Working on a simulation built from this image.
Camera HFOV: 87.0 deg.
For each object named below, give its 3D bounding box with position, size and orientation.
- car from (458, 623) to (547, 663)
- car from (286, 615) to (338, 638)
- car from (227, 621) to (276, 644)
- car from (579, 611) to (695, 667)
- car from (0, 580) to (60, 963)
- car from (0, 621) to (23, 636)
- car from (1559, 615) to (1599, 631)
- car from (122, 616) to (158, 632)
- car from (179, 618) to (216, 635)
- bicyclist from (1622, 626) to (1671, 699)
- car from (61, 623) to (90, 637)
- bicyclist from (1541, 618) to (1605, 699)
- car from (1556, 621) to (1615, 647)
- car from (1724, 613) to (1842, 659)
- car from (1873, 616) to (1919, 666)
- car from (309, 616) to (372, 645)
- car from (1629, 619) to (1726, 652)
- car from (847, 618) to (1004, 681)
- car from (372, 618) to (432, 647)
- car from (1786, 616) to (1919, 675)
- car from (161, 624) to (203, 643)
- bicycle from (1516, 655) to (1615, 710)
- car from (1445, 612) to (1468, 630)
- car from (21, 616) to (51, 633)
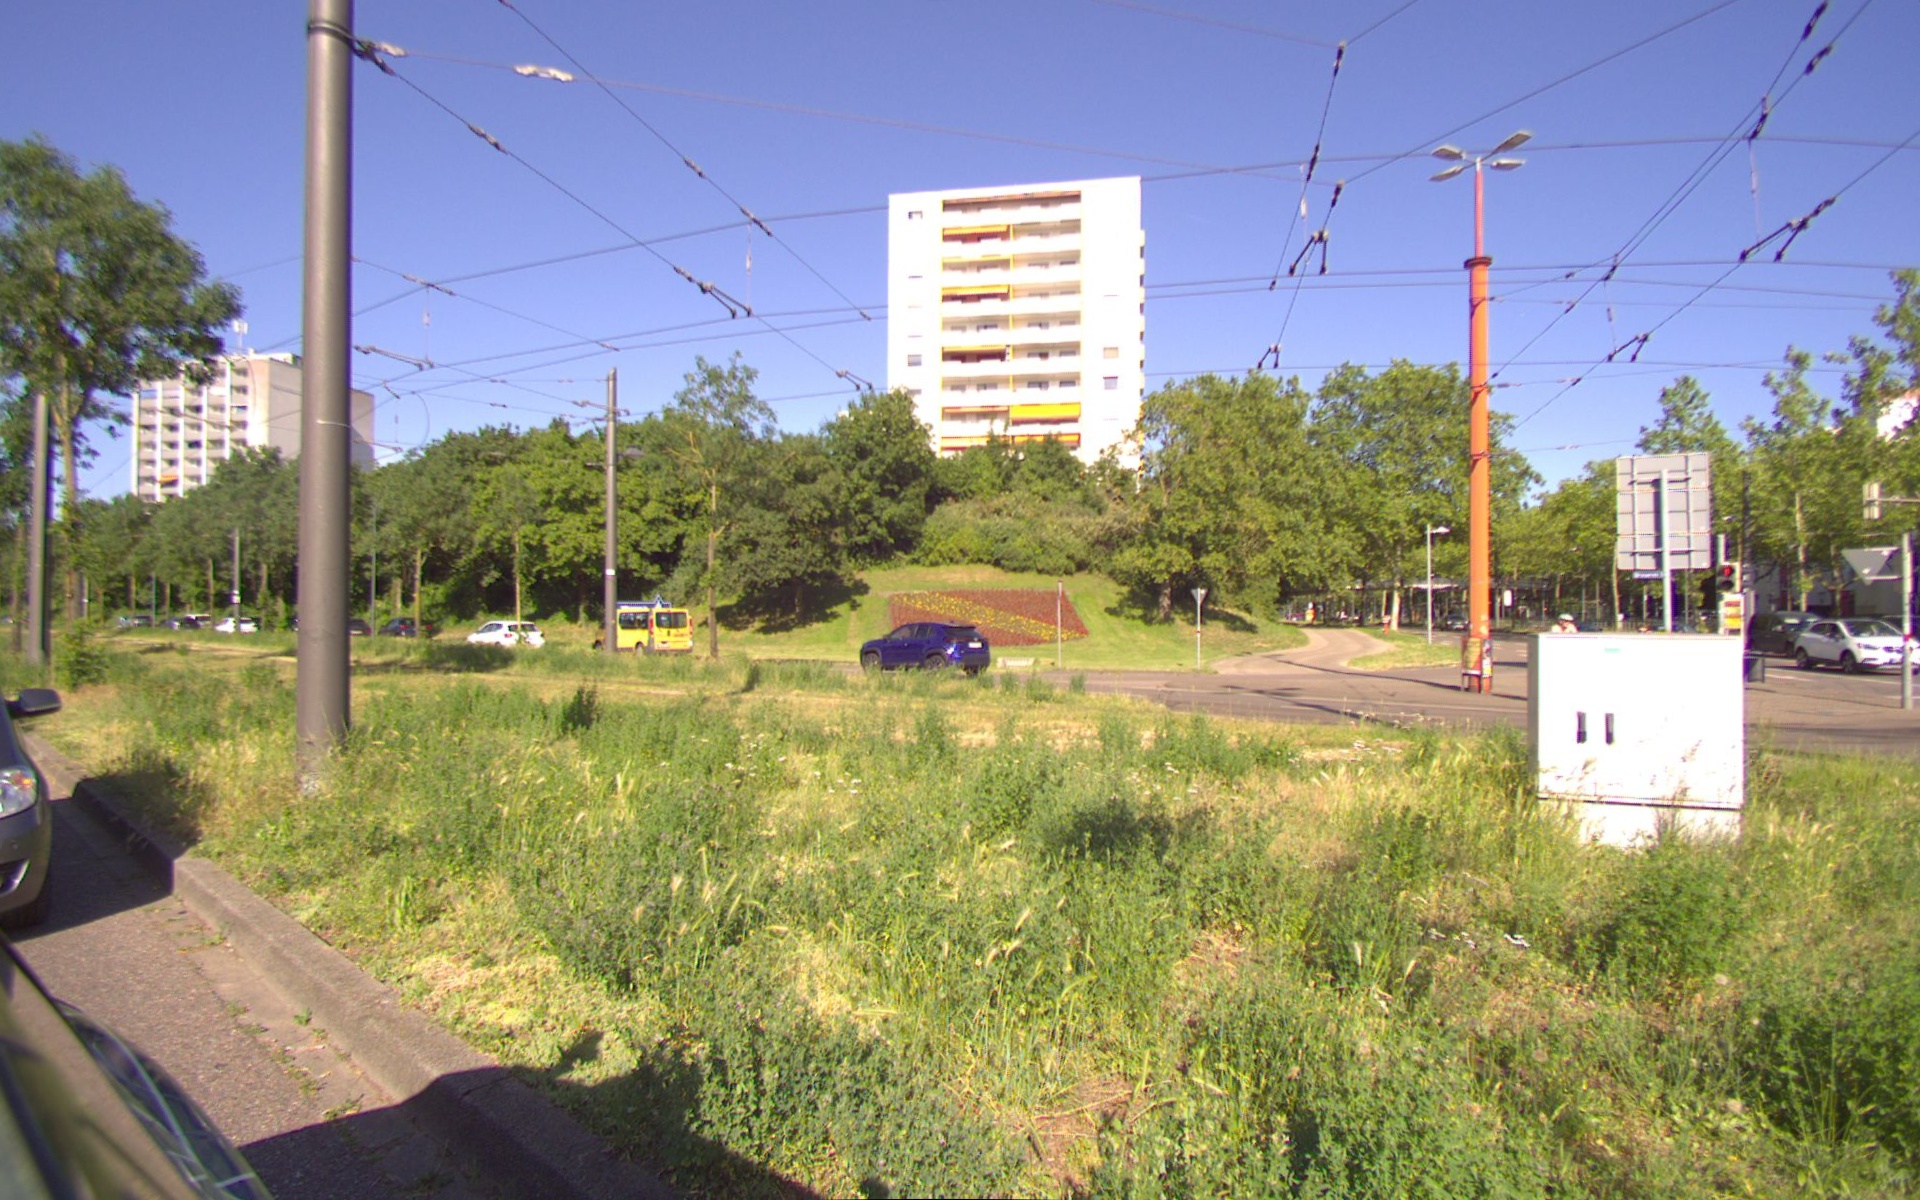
[{"bbox_3d":[-17.745,1.642,39.172,4.020,1.418,1.671,-2,-1,42],"label":"car"},{"bbox_3d":[-41.496,1.685,64.763,3.999,1.429,1.843,-1,-1,42],"label":"car"},{"bbox_3d":[-45.833,2.069,65.433,4.000,1.429,1.842,-1,-2,43],"label":"car"},{"bbox_3d":[-12.330,1.490,38.520,4.905,1.981,1.972,-2,-3,42],"label":"car"},{"bbox_3d":[-6.008,0.755,5.089,3.879,1.634,1.737,-1,-2,41],"label":"car"},{"bbox_3d":[-113.473,3.440,120.942,3.998,1.779,1.858,-1,-2,41],"label":"car"},{"bbox_3d":[79.748,2.988,130.475,3.969,2.029,1.987,-1,-1,20],"label":"car"},{"bbox_3d":[-75.406,2.217,93.045,3.998,1.497,1.972,-1,-2,41],"label":"car"},{"bbox_3d":[-62.439,2.164,82.880,3.999,1.386,1.718,-1,-2,42],"label":"car"},{"bbox_3d":[13.409,1.212,19.781,0.435,1.391,0.631,0,-2,-20],"label":"bicyclist"},{"bbox_3d":[-92.491,3.110,105.821,3.998,1.475,1.779,-1,-2,41],"label":"car"},{"bbox_3d":[12.188,1.148,20.135,0.719,1.557,0.770,0,-2,-20],"label":"bicyclist"},{"bbox_3d":[33.871,1.817,54.906,1.752,1.360,4.335,-1,-1,19],"label":"car"},{"bbox_3d":[32.632,1.393,40.302,1.832,1.721,4.290,0,-1,12],"label":"car"},{"bbox_3d":[30.522,1.261,31.046,1.840,1.557,4.244,-1,-1,13],"label":"car"},{"bbox_3d":[-31.924,1.541,52.111,4.312,1.427,1.774,-2,-1,45],"label":"car"},{"bbox_3d":[30.544,1.483,43.244,1.747,1.360,4.346,0,-1,12],"label":"car"},{"bbox_3d":[-0.994,1.307,27.903,4.105,1.586,1.973,-1,-2,41],"label":"car"},{"bbox_3d":[-30.403,1.758,55.137,1.767,1.519,4.243,1,-2,-45],"label":"car"},{"bbox_3d":[27.220,1.309,30.446,1.809,1.648,4.238,0,-1,11],"label":"car"},{"bbox_3d":[-57.659,2.450,74.950,4.229,1.371,1.801,-1,-2,43],"label":"car"},{"bbox_3d":[12.121,1.623,20.308,0.673,0.968,1.650,0,0,-20],"label":"bicycle"},{"bbox_3d":[47.940,2.051,97.663,1.843,1.721,4.265,-1,-2,29],"label":"car"},{"bbox_3d":[-97.030,2.595,106.244,3.998,1.779,1.858,-1,-2,41],"label":"car"}]
